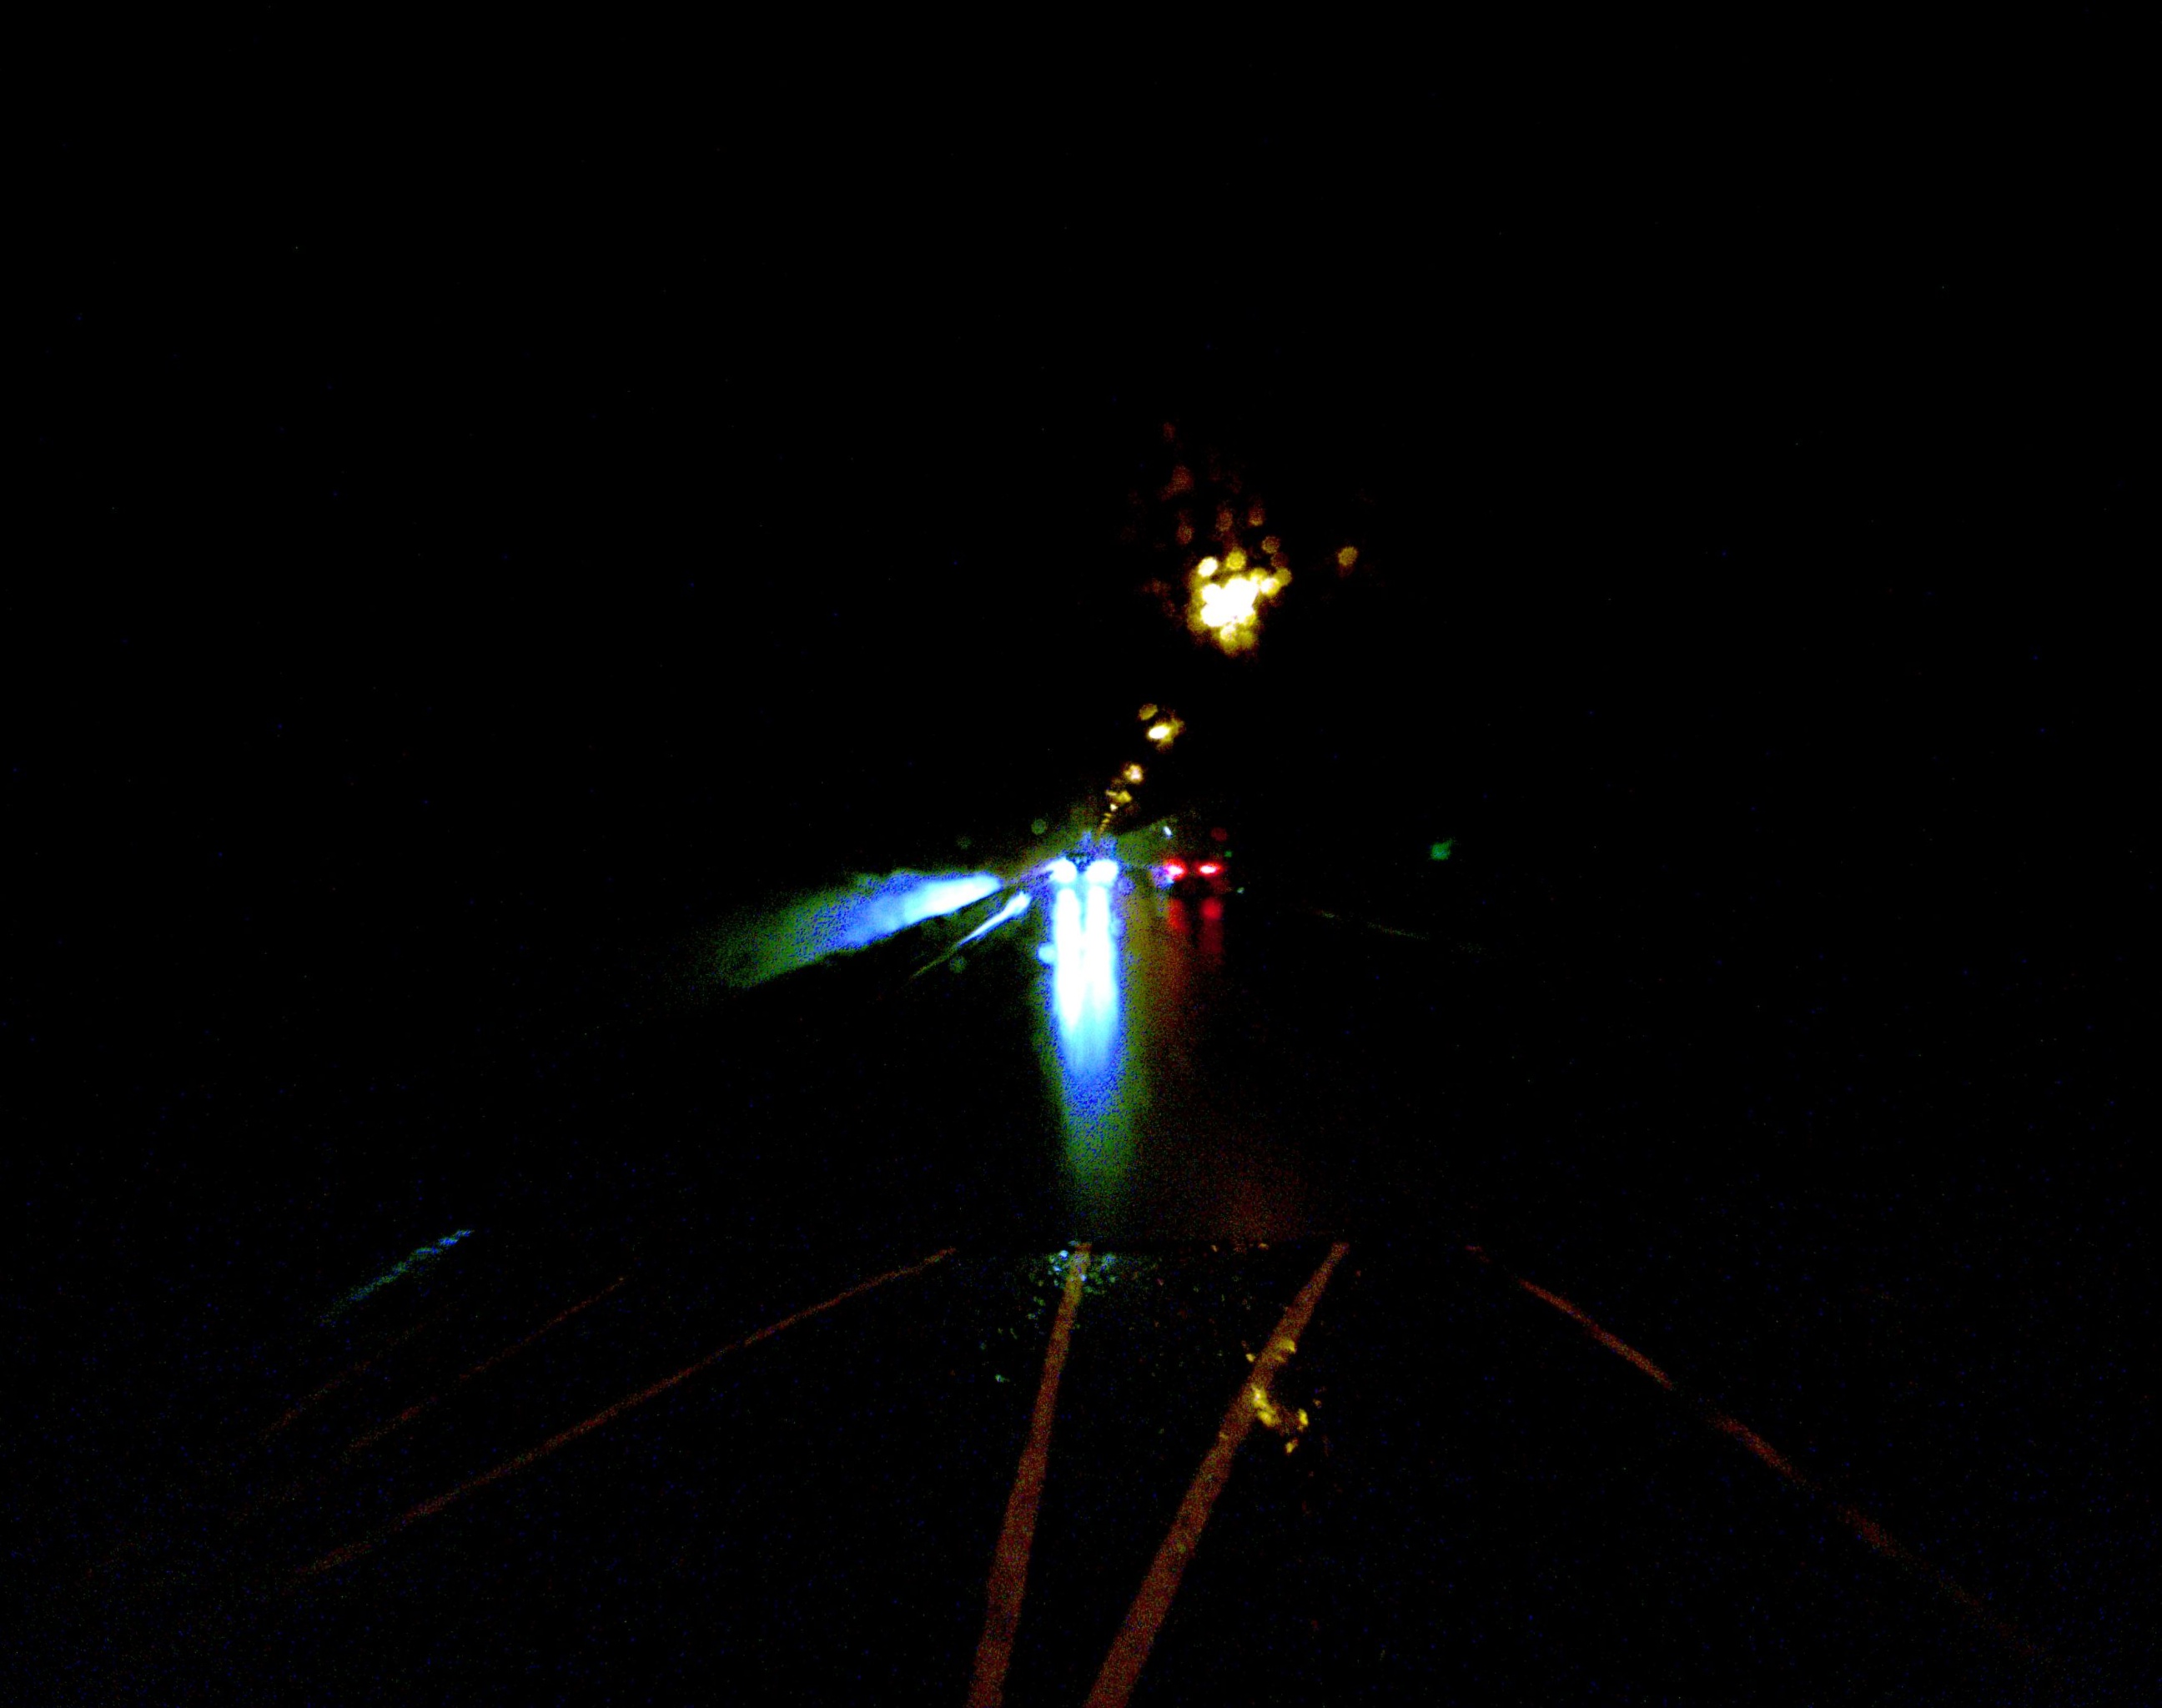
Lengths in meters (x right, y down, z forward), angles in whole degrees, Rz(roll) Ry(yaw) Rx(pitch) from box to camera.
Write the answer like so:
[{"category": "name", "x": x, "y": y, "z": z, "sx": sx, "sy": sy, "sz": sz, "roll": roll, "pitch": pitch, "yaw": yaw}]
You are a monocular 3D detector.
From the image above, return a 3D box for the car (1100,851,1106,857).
[{"category": "car", "x": 5.655, "y": 0.018, "z": 195.206, "sx": 1.639, "sy": 1.526, "sz": 3.646, "roll": -1, "pitch": -1, "yaw": 2}]

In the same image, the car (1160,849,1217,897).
[{"category": "car", "x": 3.846, "y": 0.660, "z": 27.738, "sx": 1.639, "sy": 1.593, "sz": 4.146, "roll": -1, "pitch": -1, "yaw": 2}]

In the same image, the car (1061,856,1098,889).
[{"category": "car", "x": -0.020, "y": 0.868, "z": 36.382, "sx": 1.627, "sy": 1.487, "sz": 3.585, "roll": -1, "pitch": -1, "yaw": 2}]
